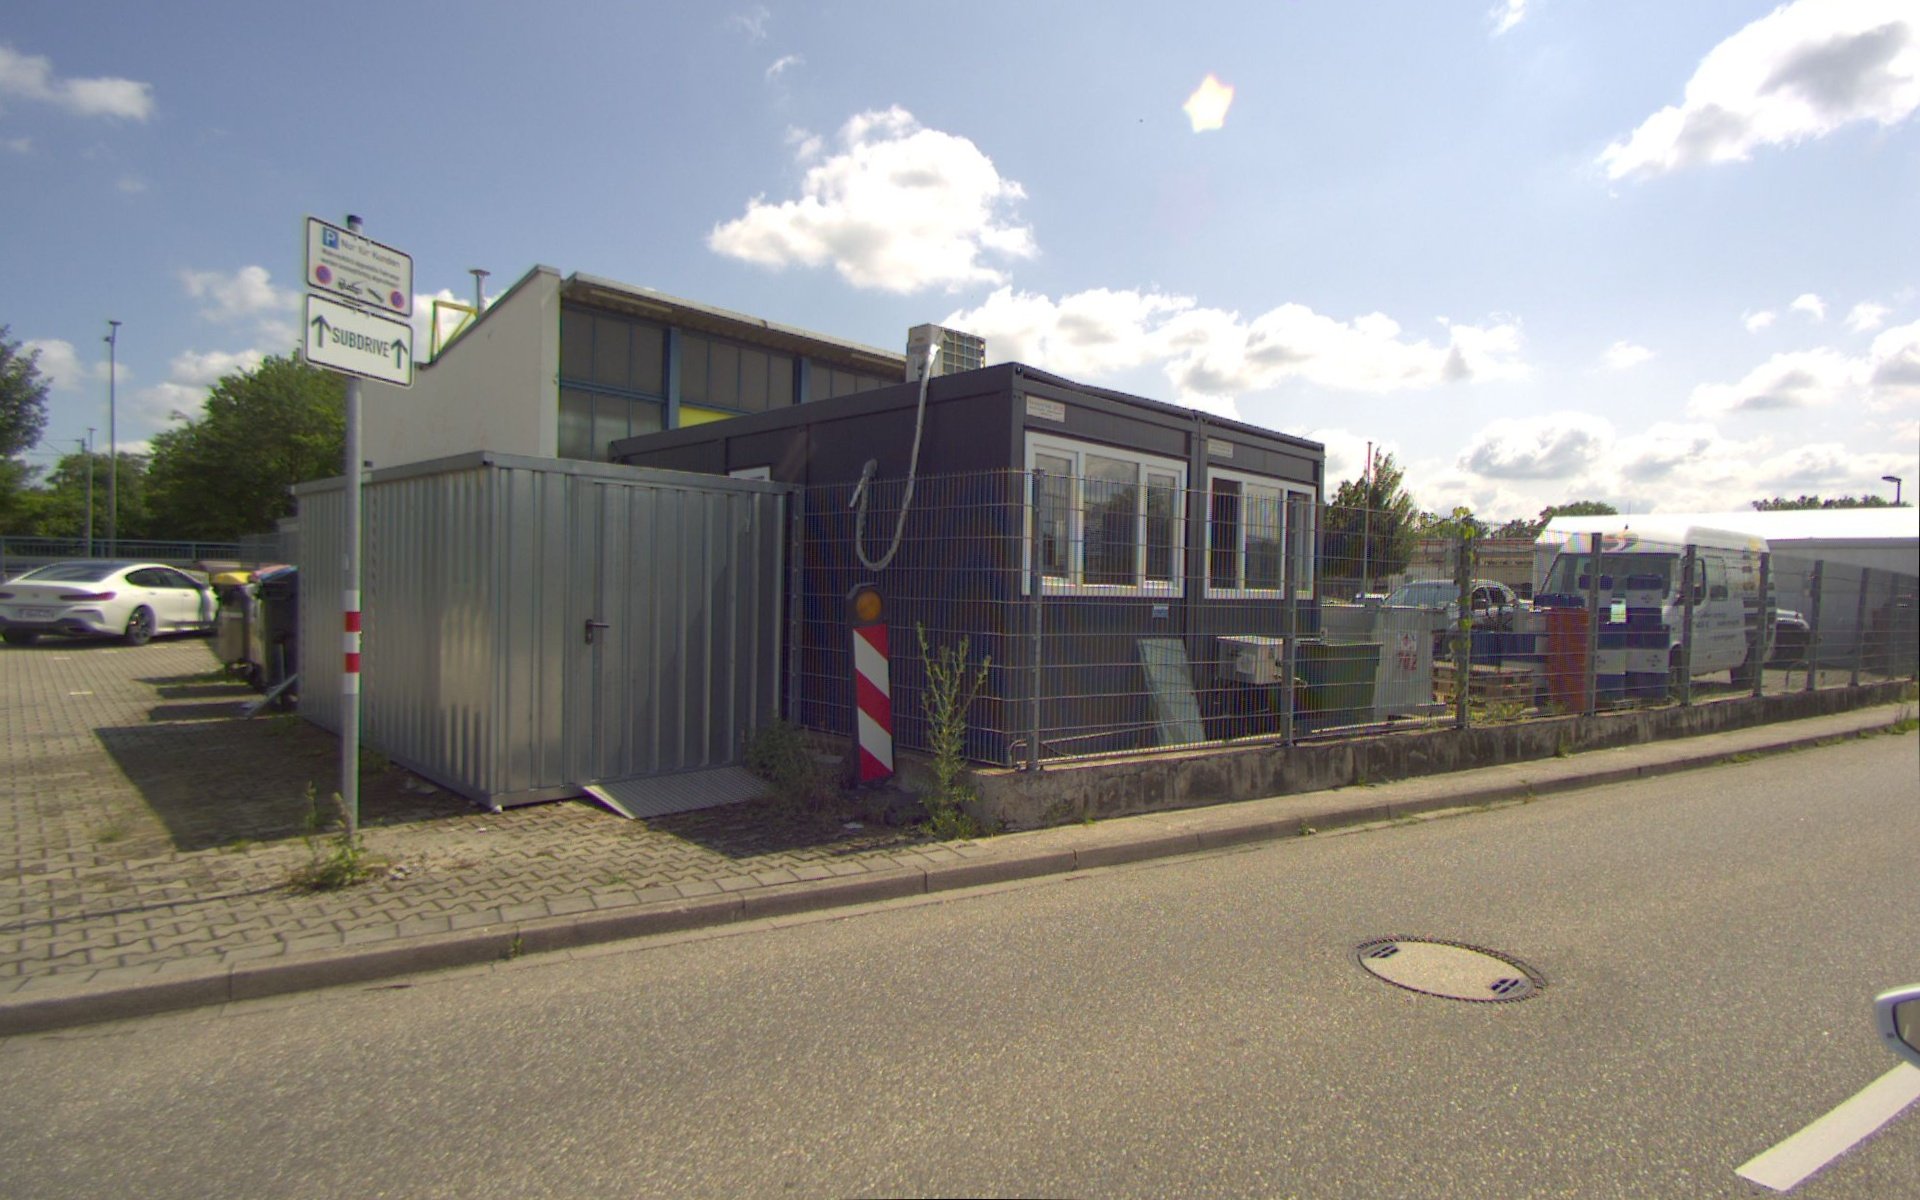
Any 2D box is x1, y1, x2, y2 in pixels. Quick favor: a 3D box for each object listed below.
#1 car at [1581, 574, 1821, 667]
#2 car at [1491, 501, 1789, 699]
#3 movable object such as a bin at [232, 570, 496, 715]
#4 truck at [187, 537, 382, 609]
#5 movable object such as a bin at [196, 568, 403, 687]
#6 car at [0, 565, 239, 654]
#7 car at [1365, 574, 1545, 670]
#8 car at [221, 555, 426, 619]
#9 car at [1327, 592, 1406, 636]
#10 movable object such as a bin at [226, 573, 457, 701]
[{"bbox_3d":[17.804,0.439,24.350,4.497,2.053,2.051,1,0,38],"label":"car"},{"bbox_3d":[11.007,0.040,15.974,6.660,2.571,2.102,1,0,-39],"label":"car"},{"bbox_3d":[-6.471,0.424,10.980,1.357,1.408,2.190,1,0,43],"label":"movable object such as a bin"},{"bbox_3d":[-21.175,-0.774,31.630,1.933,2.040,4.809,1,0,45],"label":"truck"},{"bbox_3d":[-8.684,0.345,13.274,1.098,1.408,2.019,4,1,38],"label":"movable object such as a bin"},{"bbox_3d":[-14.852,0.115,17.800,1.905,1.332,4.025,2,1,-13],"label":"car"},{"bbox_3d":[9.853,0.409,19.864,3.973,1.690,1.958,1,0,-44],"label":"car"},{"bbox_3d":[-17.564,-0.321,27.872,1.973,1.604,4.482,1,0,45],"label":"car"},{"bbox_3d":[17.905,0.607,44.138,1.969,1.802,4.577,1,0,39],"label":"car"},{"bbox_3d":[-7.576,0.418,12.374,1.181,1.408,2.190,2,1,43],"label":"movable object such as a bin"}]
